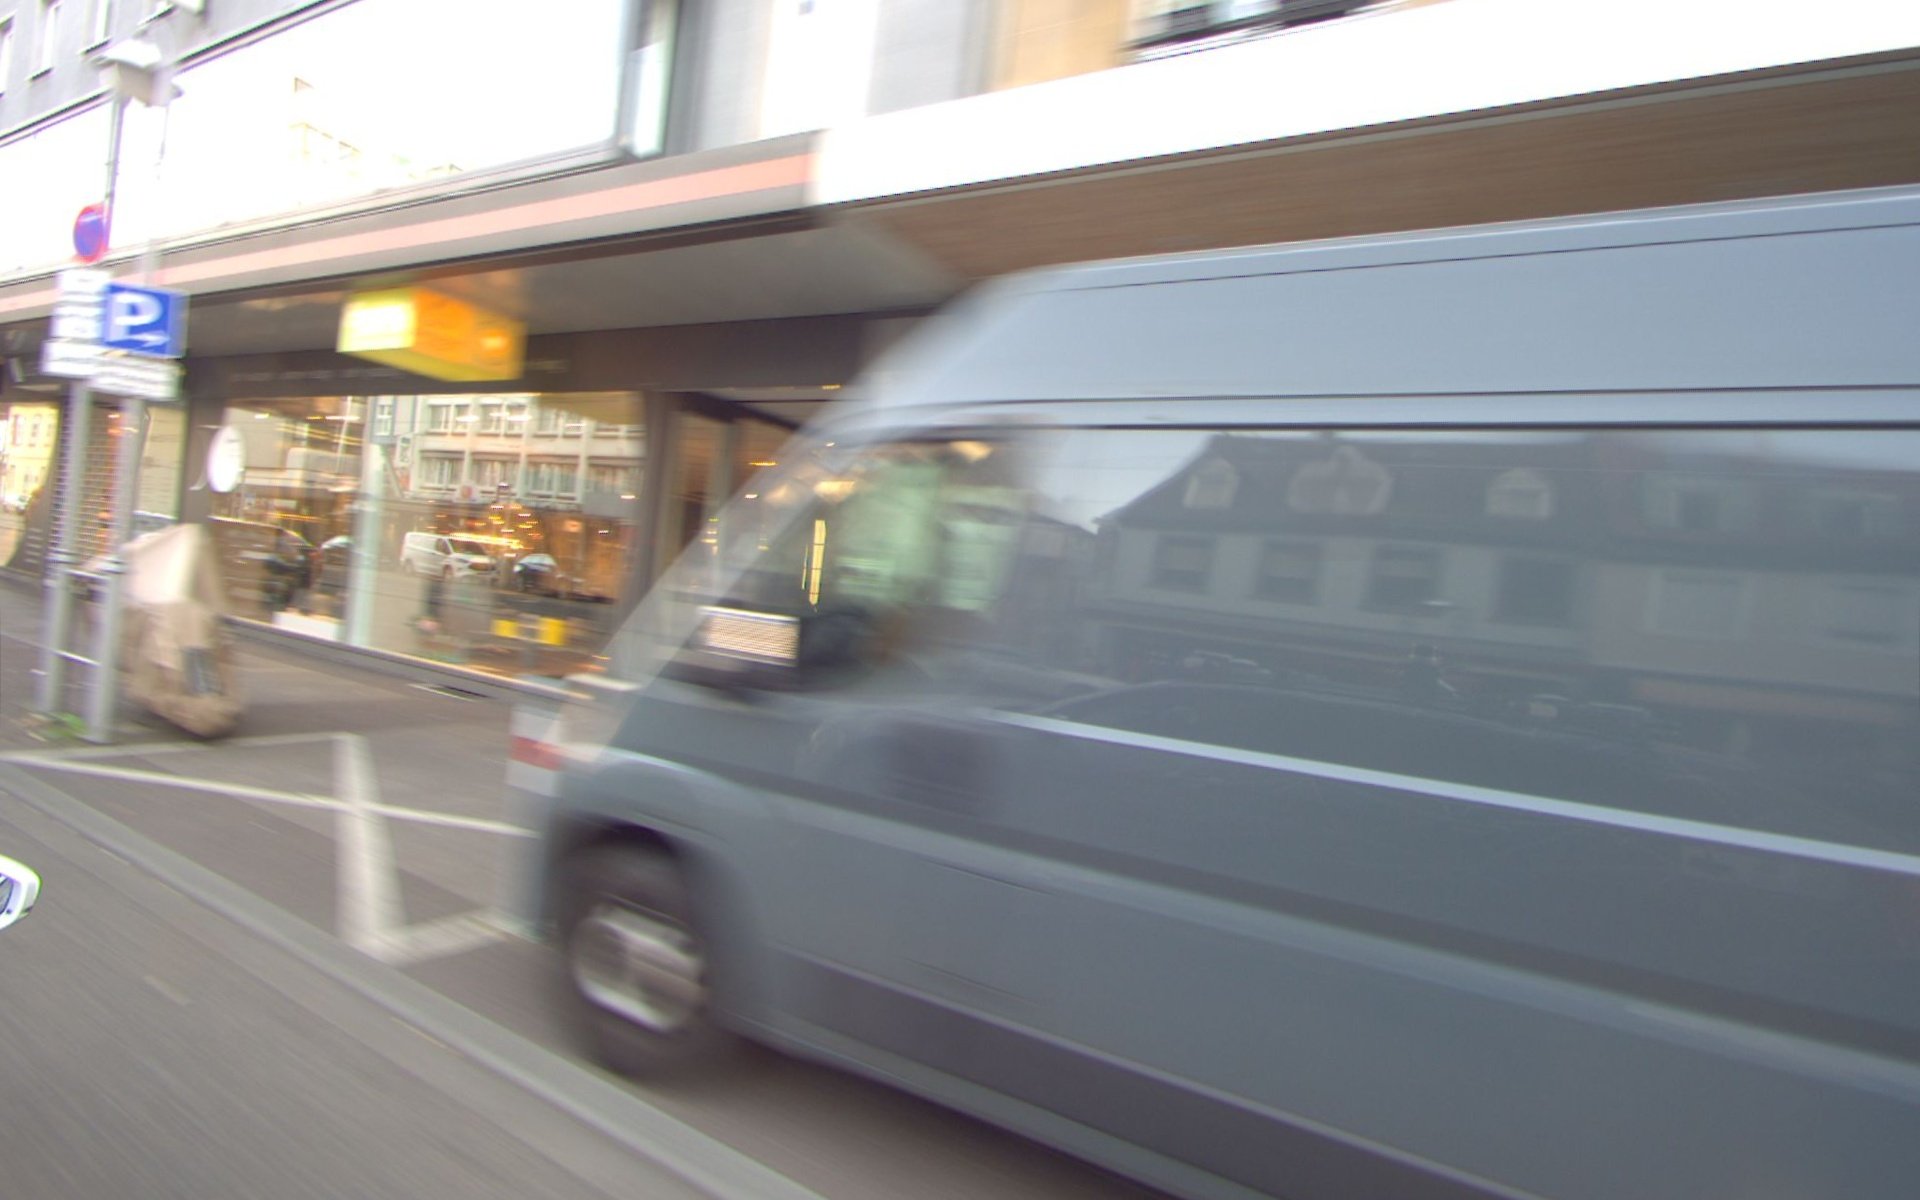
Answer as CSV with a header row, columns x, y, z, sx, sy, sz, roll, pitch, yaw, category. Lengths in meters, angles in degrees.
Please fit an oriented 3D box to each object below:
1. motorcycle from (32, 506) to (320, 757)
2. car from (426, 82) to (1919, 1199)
x,y,z,sx,sy,sz,roll,pitch,yaw,category
-5.503,0.159,7.020,2.129,1.438,0.844,6,2,32,motorcycle
1.108,0.402,2.901,5.317,2.487,2.035,7,2,30,car
